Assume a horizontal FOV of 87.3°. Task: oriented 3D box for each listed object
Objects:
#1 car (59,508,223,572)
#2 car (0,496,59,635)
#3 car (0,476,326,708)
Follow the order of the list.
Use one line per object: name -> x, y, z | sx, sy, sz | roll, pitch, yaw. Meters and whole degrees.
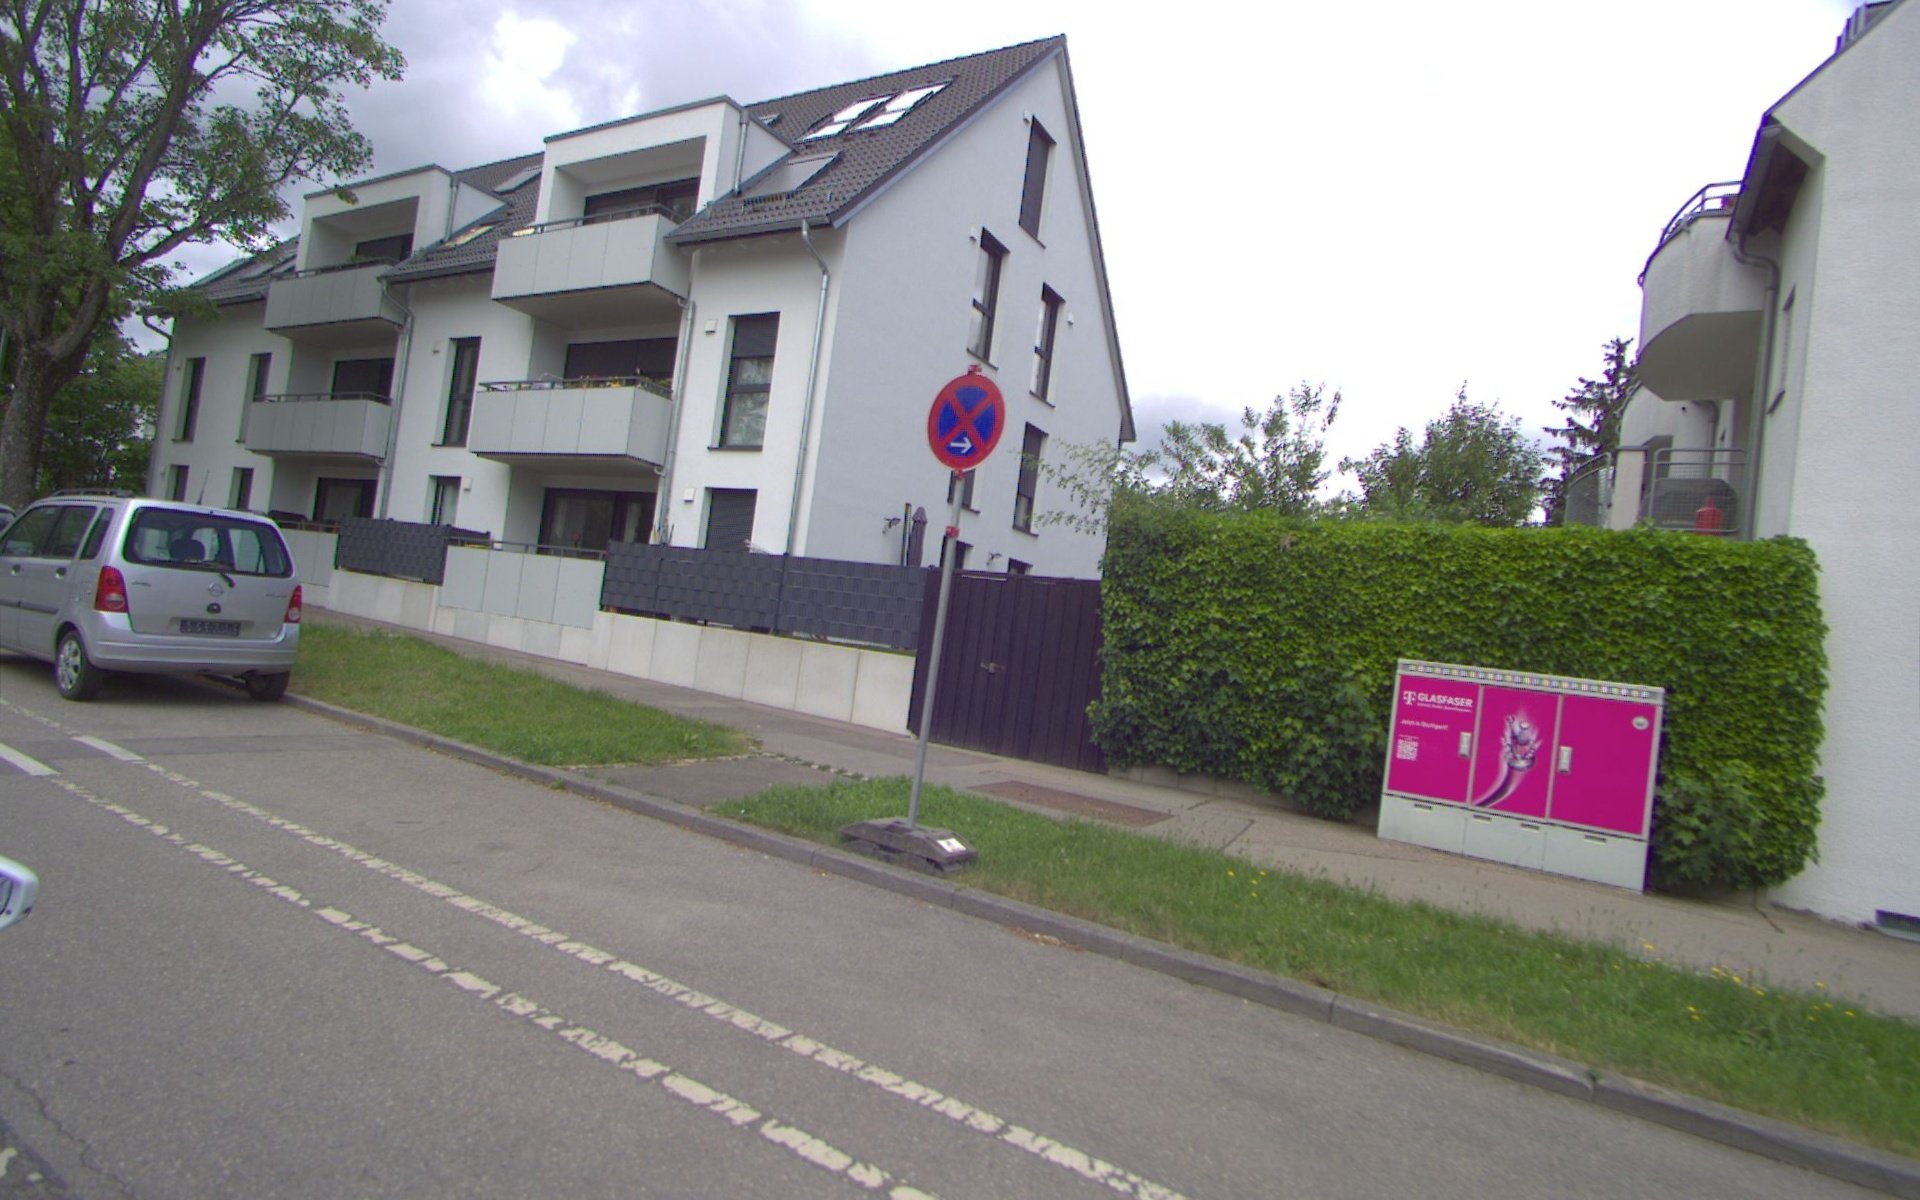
car -> -28.759, -2.072, 35.451 | 1.762, 1.476, 3.999 | 8, -2, 27
car -> -12.629, -0.632, 11.887 | 4.156, 1.510, 1.691 | 7, -2, 31
car -> -7.699, -0.125, 9.217 | 3.587, 1.685, 1.636 | 7, -2, 31
